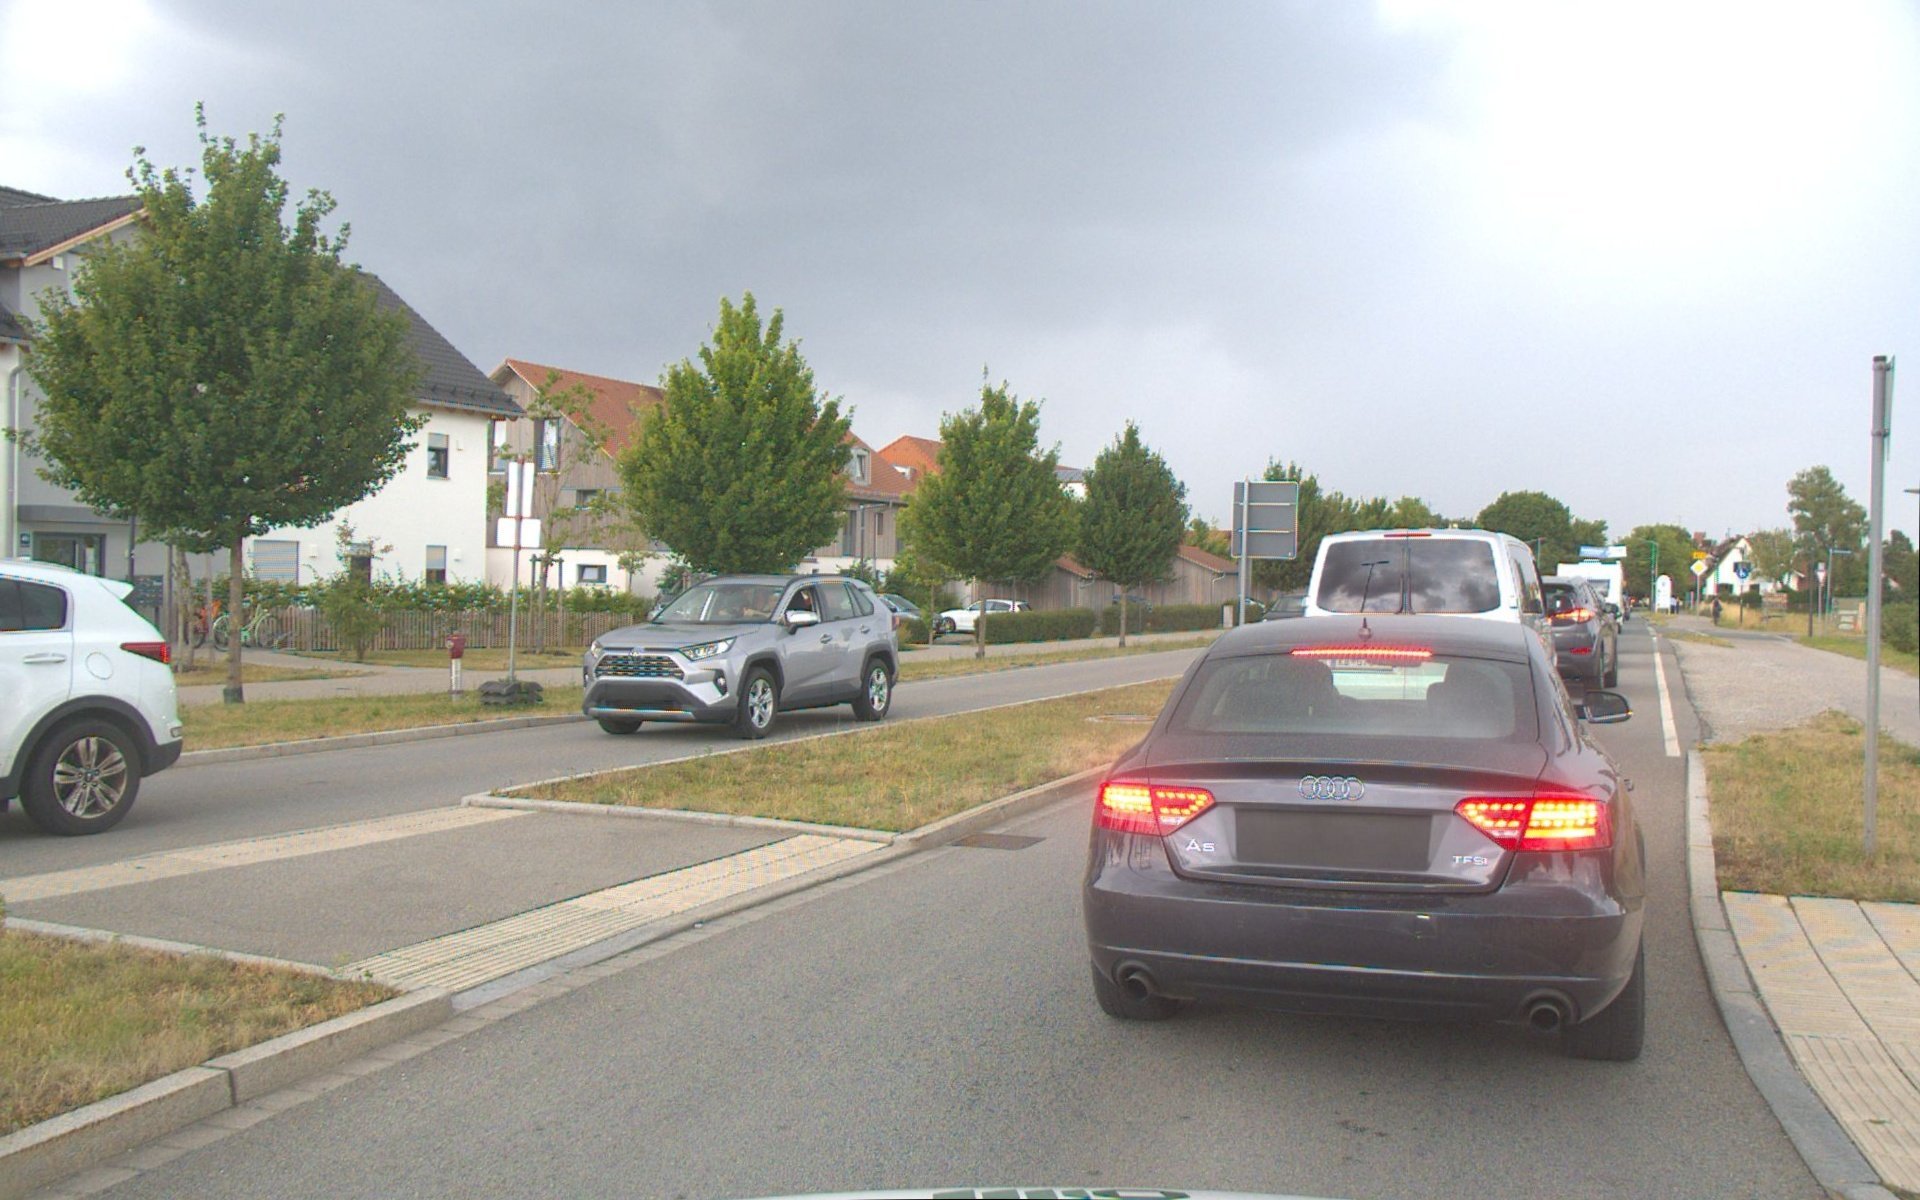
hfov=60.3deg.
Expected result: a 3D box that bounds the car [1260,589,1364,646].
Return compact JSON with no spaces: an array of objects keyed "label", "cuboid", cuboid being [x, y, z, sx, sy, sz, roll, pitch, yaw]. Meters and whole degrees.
[{"label":"car","cuboid":[9.781,0.443,45.671,1.719,1.441,4.451,2,1,27]}]

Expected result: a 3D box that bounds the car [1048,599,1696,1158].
[{"label":"car","cuboid":[1.784,0.718,6.521,1.747,1.416,4.133,0,0,20]}]

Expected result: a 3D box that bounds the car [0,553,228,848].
[{"label":"car","cuboid":[-6.482,0.560,9.040,1.676,1.654,4.443,0,0,29]}]

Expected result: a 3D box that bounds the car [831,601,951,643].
[{"label":"car","cuboid":[-2.444,0.755,58.676,3.834,1.338,1.843,2,1,21]}]

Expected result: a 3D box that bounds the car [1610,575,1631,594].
[{"label":"car","cuboid":[81.199,-1.926,203.299,1.955,2.250,3.996,2,1,27]}]

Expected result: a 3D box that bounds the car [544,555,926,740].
[{"label":"car","cuboid":[-2.256,0.448,18.007,1.954,1.733,4.632,-1,0,24]}]

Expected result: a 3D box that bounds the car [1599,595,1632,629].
[{"label":"car","cuboid":[37.036,0.636,93.425,1.581,1.825,3.999,2,1,23]}]

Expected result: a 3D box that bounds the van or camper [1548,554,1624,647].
[{"label":"van or camper","cuboid":[24.410,0.044,64.348,2.571,3.381,6.820,2,0,22]}]

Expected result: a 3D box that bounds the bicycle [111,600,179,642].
[{"label":"bicycle","cuboid":[-17.243,0.440,35.014,0.360,0.857,1.337,4,2,24]}]

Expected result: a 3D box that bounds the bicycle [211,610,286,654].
[{"label":"bicycle","cuboid":[-14.567,0.646,33.909,0.360,0.857,1.546,4,2,24]}]

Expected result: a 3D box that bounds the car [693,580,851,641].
[{"label":"car","cuboid":[-5.802,0.295,50.967,4.442,1.709,1.998,2,1,26]}]

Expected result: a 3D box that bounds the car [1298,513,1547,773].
[{"label":"car","cuboid":[4.241,0.300,14.775,1.828,1.968,4.001,1,1,19]}]

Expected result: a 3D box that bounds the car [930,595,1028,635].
[{"label":"car","cuboid":[0.779,0.601,67.743,3.652,1.507,1.687,2,1,20]}]

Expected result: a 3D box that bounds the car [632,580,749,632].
[{"label":"car","cuboid":[-9.816,0.216,60.608,1.955,1.803,4.459,1,0,27]}]

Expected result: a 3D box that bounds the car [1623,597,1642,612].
[{"label":"car","cuboid":[64.976,0.420,159.795,1.581,1.433,3.614,2,1,23]}]

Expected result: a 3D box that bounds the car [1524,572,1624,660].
[{"label":"car","cuboid":[12.384,0.302,33.251,1.740,1.646,3.999,1,0,22]}]

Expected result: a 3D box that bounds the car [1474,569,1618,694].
[{"label":"car","cuboid":[8.535,0.408,23.906,1.740,1.646,3.999,0,0,23]}]
